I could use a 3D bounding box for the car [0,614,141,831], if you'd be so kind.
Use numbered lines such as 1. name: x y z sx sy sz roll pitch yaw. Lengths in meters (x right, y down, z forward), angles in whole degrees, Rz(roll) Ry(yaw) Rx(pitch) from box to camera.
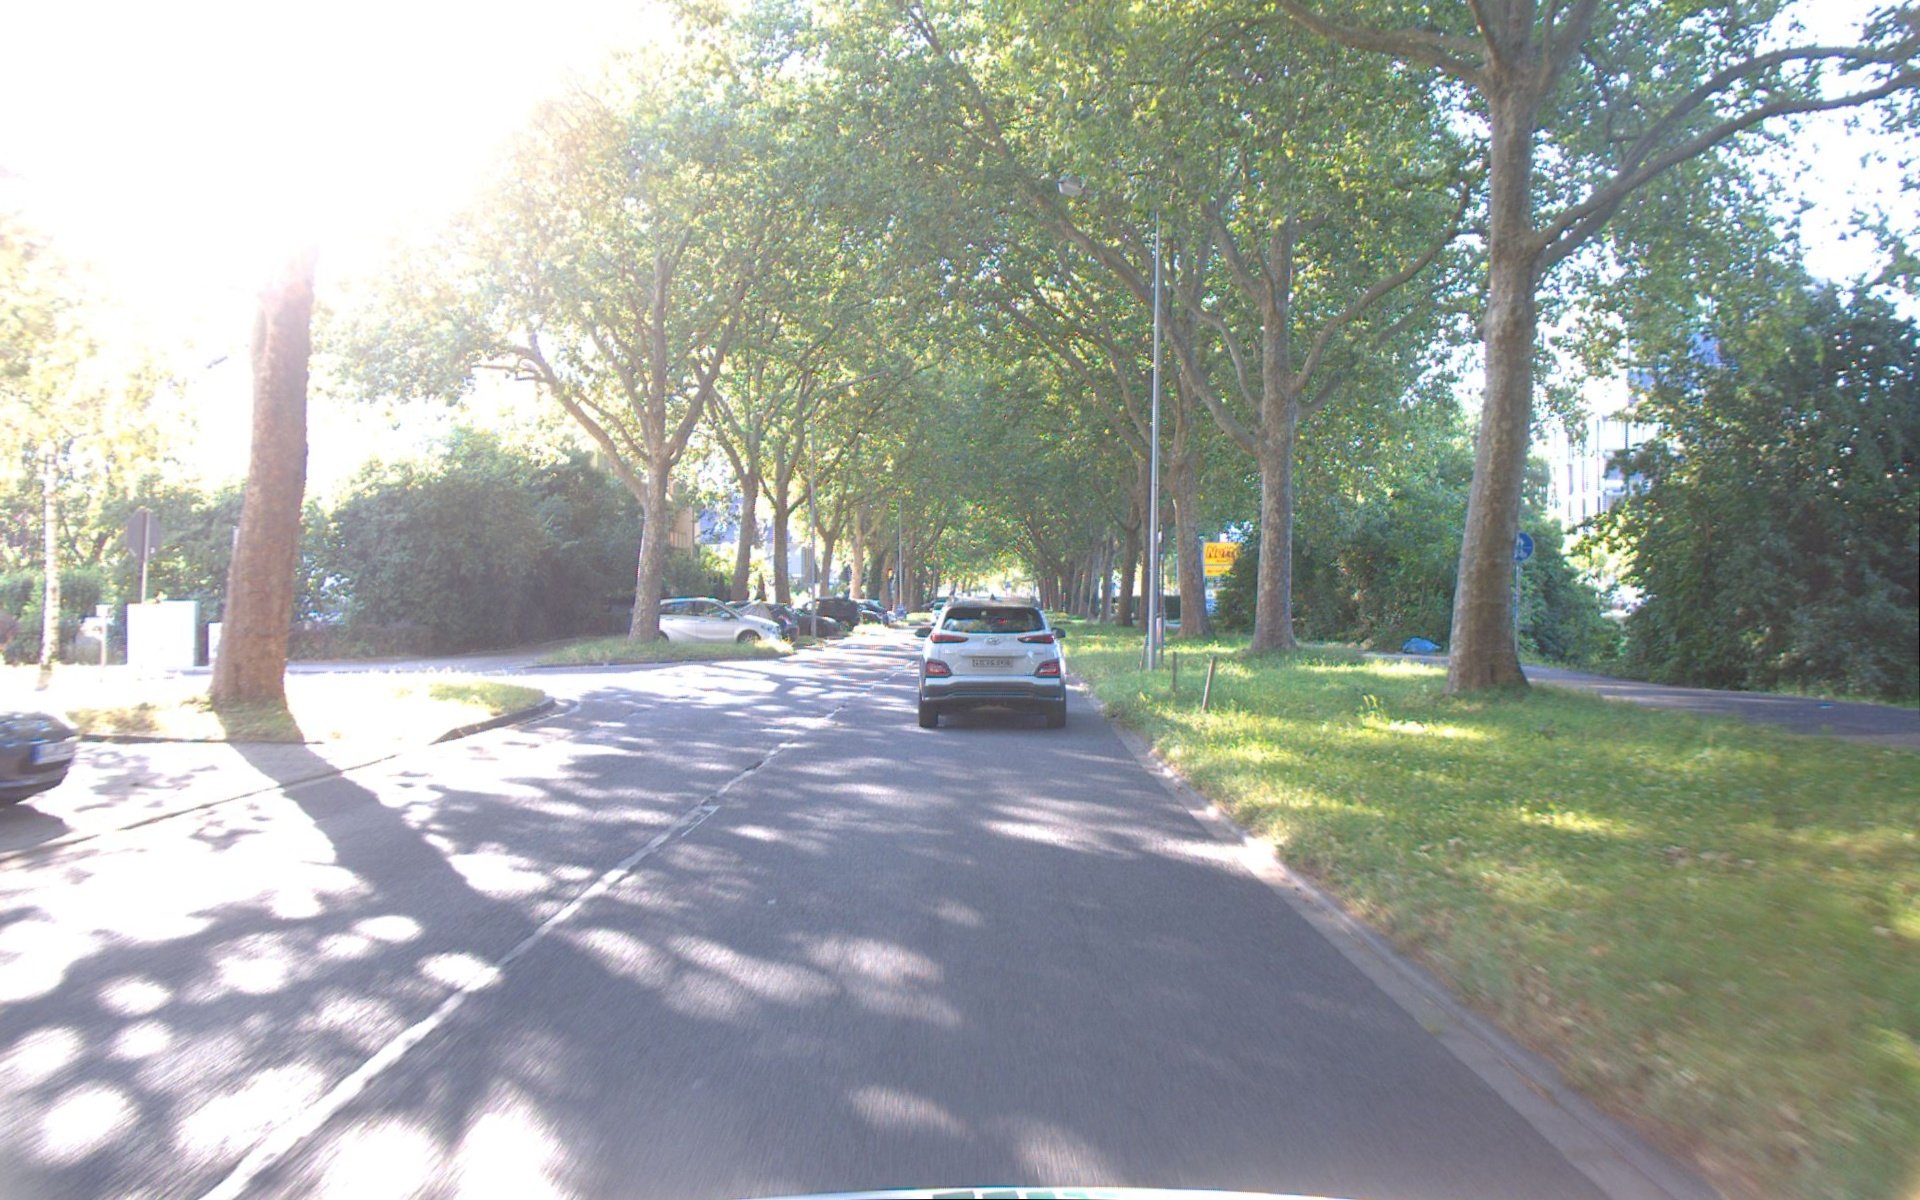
1. car: -7.956 0.743 11.326 3.748 1.339 1.789 2 0 -2

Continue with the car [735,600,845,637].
1. car: -6.694 0.721 65.349 4.153 1.376 1.741 -1 0 0

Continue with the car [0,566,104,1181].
1. car: -3.265 0.678 2.661 1.747 1.539 3.838 1 0 0

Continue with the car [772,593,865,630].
1. car: -6.607 0.551 77.438 4.156 1.709 1.671 0 0 1

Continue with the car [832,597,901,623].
1. car: -5.548 0.604 98.535 3.903 1.496 1.810 0 0 3

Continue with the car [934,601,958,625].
1. car: -0.874 0.801 105.657 1.504 1.484 3.184 0 0 -1

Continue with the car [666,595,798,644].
1. car: -7.358 0.628 53.706 4.076 1.532 1.801 0 0 -2

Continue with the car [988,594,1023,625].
1. car: 2.536 0.529 93.234 1.643 1.725 3.743 0 0 -3

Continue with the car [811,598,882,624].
1. car: -6.334 0.625 92.893 3.907 1.449 1.808 0 0 -3

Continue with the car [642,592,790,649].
1. car: -7.120 0.605 48.600 4.100 1.612 1.999 1 0 -3

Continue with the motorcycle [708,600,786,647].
1. motorcycle: -6.577 0.722 51.171 2.338 1.412 0.648 0 0 -4

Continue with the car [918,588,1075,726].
1. car: 0.385 0.668 21.192 1.798 1.583 3.999 1 0 -1

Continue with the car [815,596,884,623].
1. car: -6.406 0.565 96.122 3.905 1.546 1.809 0 0 0
